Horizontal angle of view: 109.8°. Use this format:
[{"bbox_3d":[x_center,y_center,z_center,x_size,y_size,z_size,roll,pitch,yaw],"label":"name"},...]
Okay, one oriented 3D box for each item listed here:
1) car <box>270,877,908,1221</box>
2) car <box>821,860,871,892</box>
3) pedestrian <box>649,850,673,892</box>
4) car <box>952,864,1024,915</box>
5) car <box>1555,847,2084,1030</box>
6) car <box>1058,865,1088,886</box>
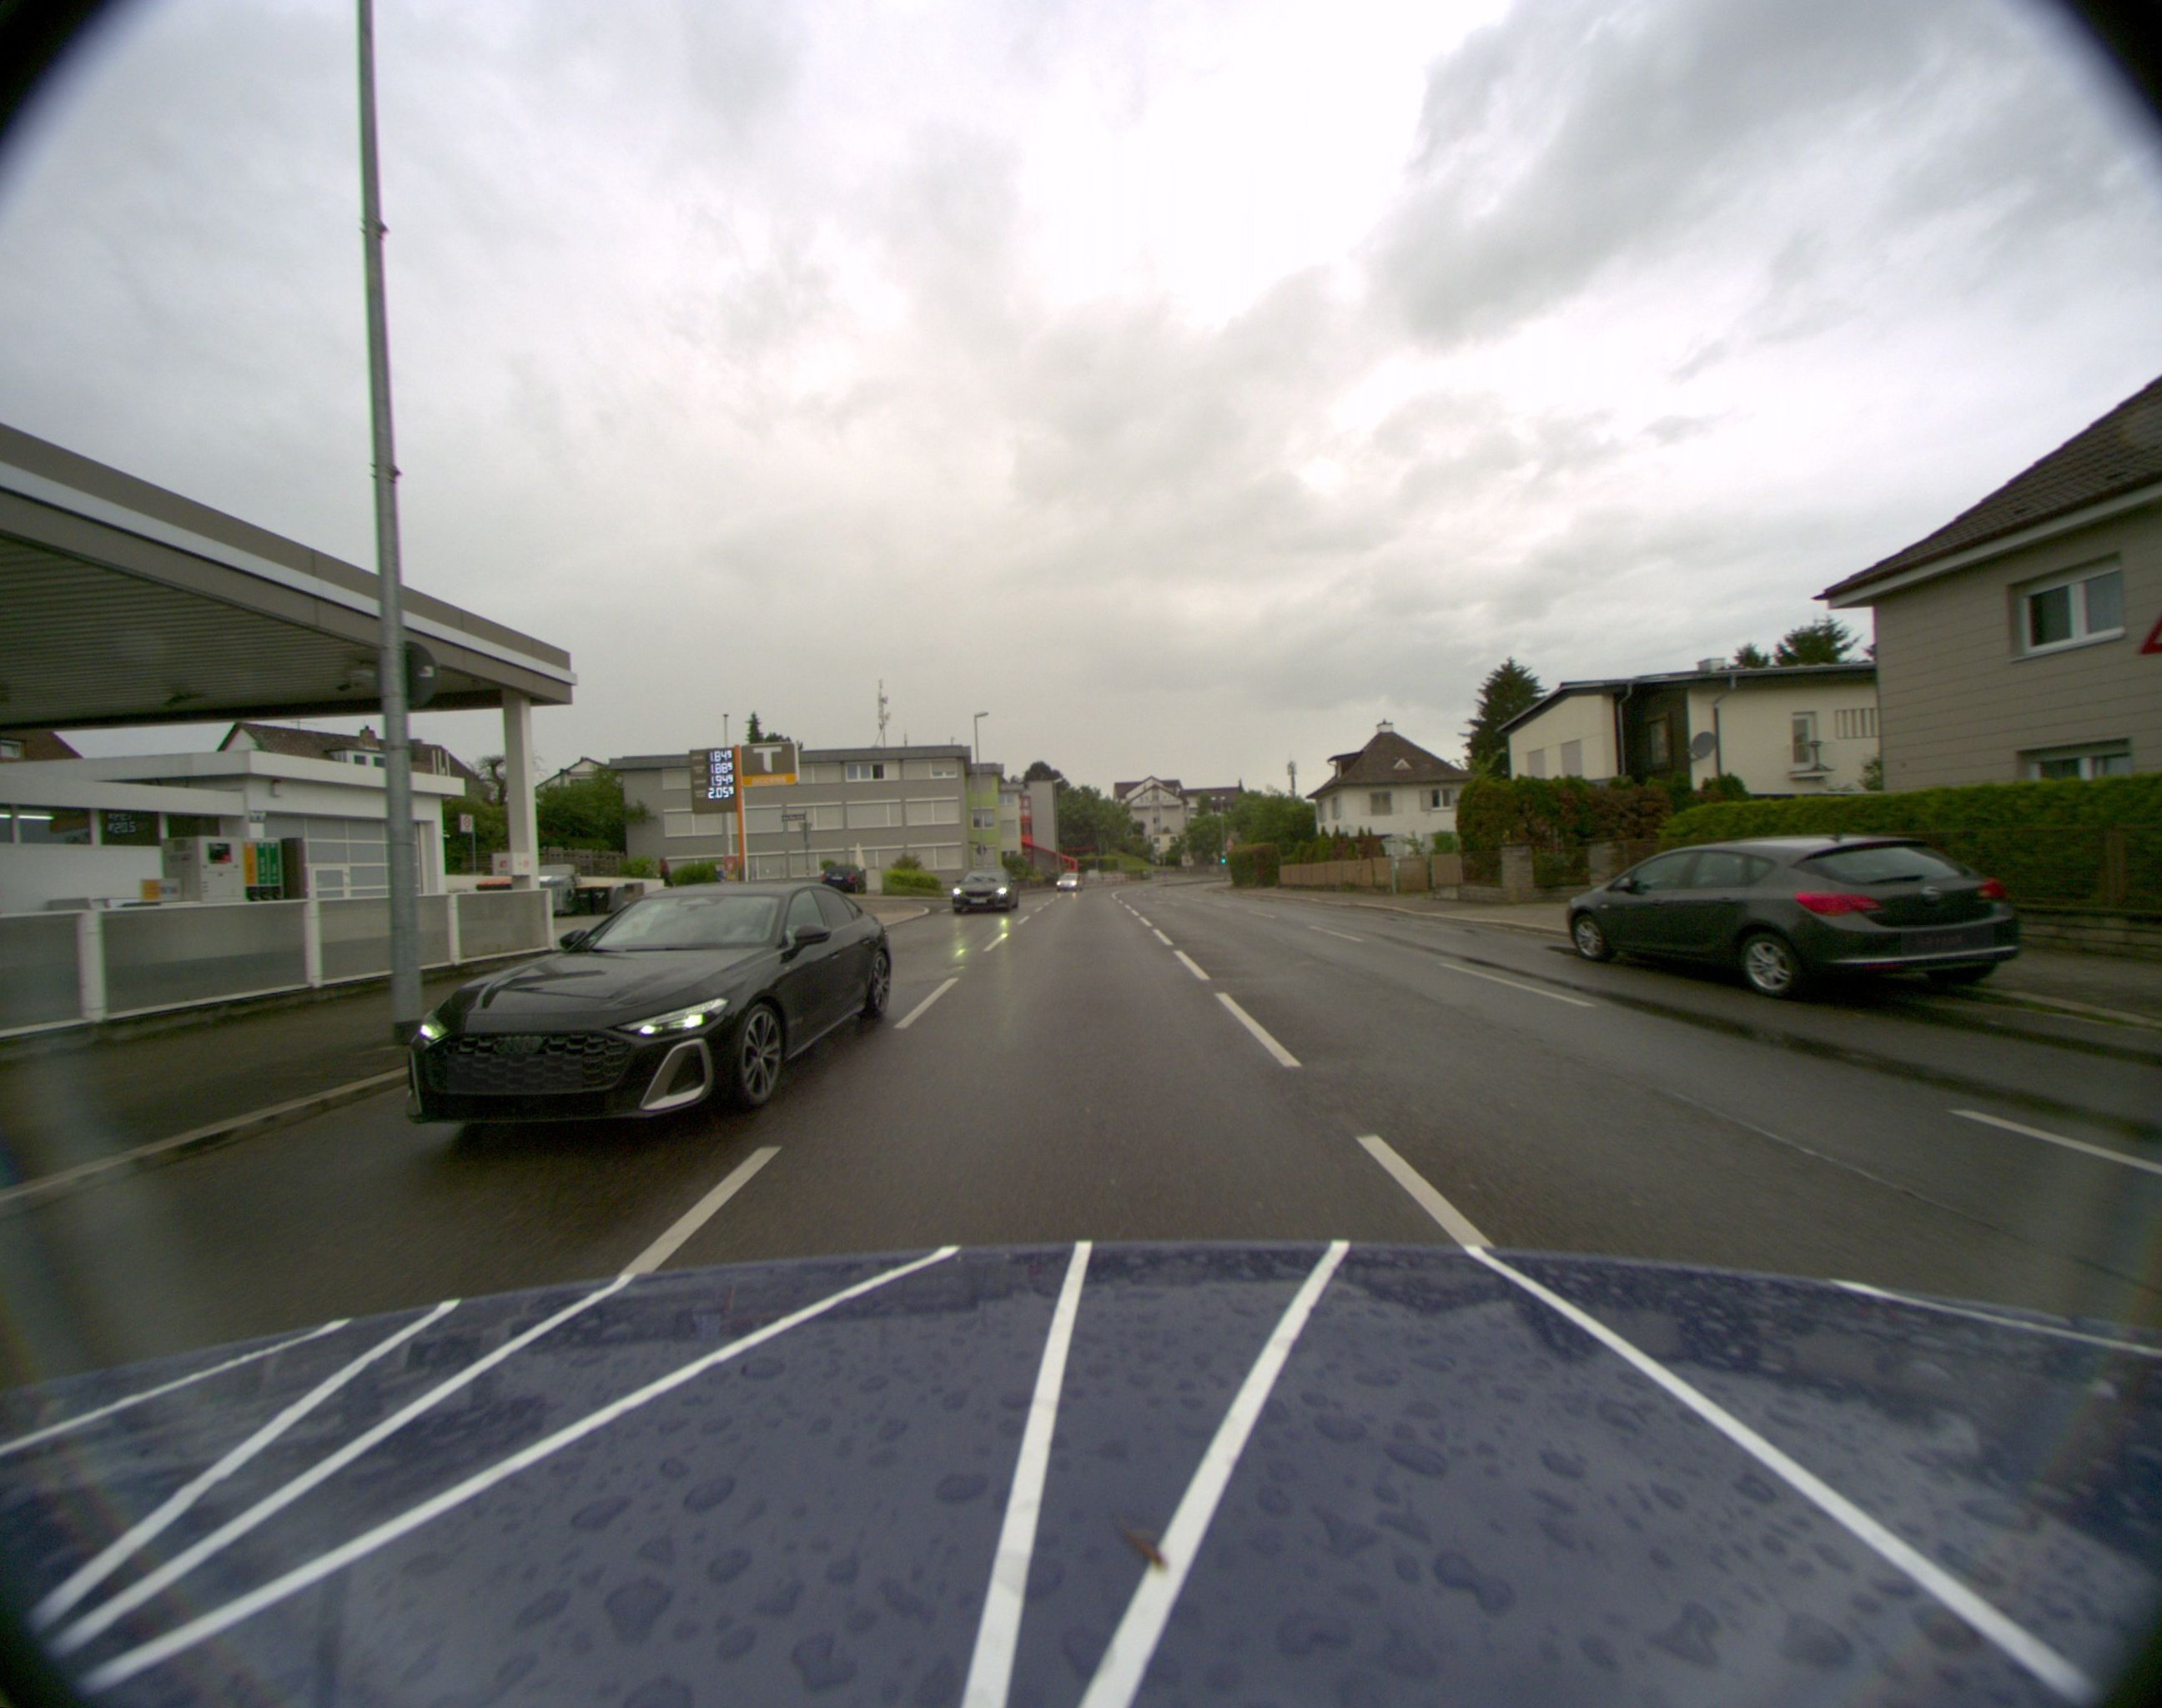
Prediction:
[{"bbox_3d":[-2.913,1.019,6.039,1.871,1.416,4.739,-2,0,1],"label":"car"},{"bbox_3d":[-12.451,1.137,40.461,1.815,1.518,3.997,1,0,-7],"label":"car"},{"bbox_3d":[-20.454,0.843,37.005,0.717,2.002,0.614,-2,1,-4],"label":"pedestrian"},{"bbox_3d":[-3.170,1.178,26.576,1.872,1.510,4.000,-2,0,1],"label":"car"},{"bbox_3d":[7.319,0.677,8.267,1.754,1.431,4.129,-2,0,1],"label":"car"},{"bbox_3d":[-0.673,1.840,65.700,1.997,1.647,4.002,-2,1,7],"label":"car"}]
